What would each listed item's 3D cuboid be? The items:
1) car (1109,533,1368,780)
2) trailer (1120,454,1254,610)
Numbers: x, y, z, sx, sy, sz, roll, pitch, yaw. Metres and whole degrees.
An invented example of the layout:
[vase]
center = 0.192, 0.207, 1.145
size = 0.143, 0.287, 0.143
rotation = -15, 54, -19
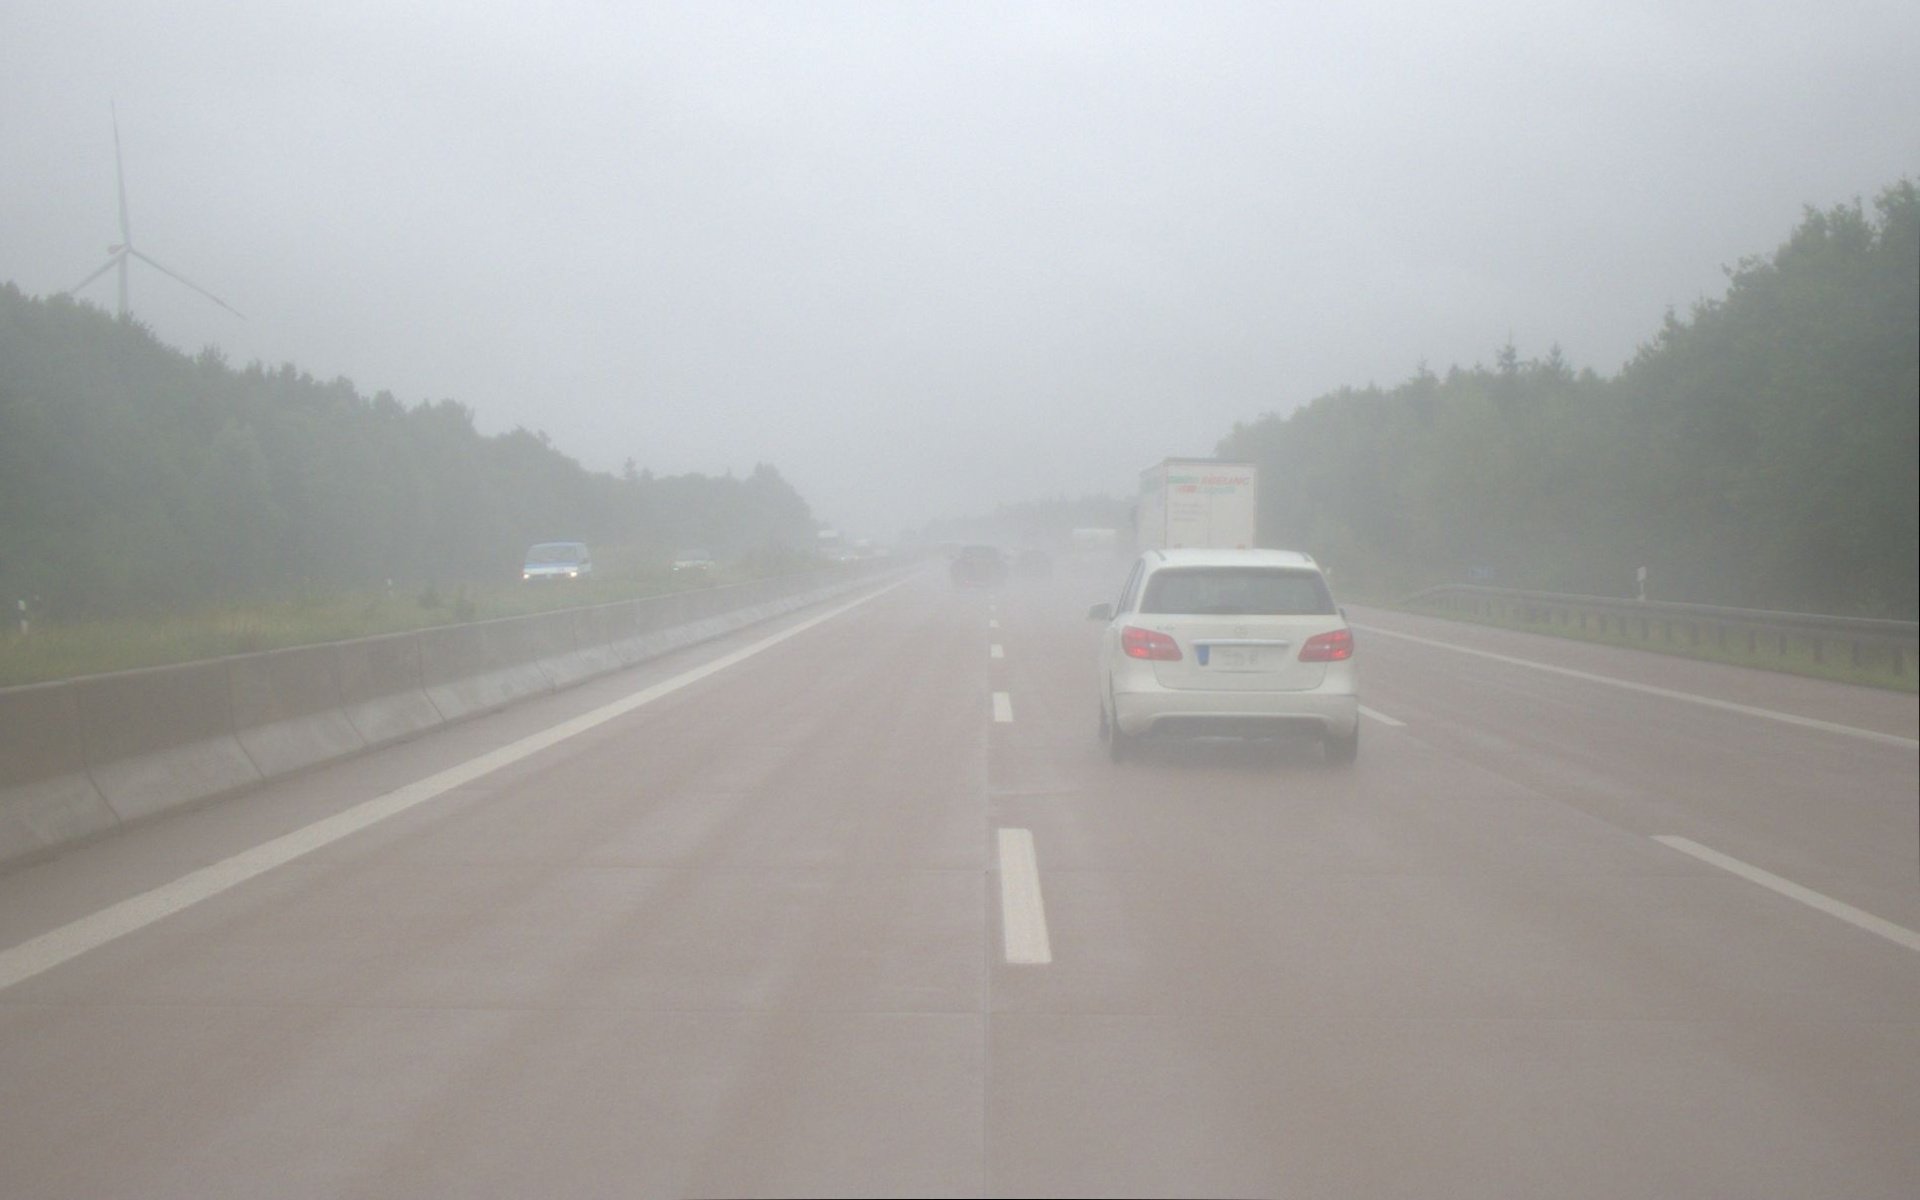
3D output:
[car]
center = 2.069, 0.362, 26.677
size = 1.808, 1.722, 4.743
rotation = 1, 1, 2
[trailer]
center = 6.566, -2.022, 101.277
size = 2.852, 4.217, 13.133
rotation = -1, 1, -1
